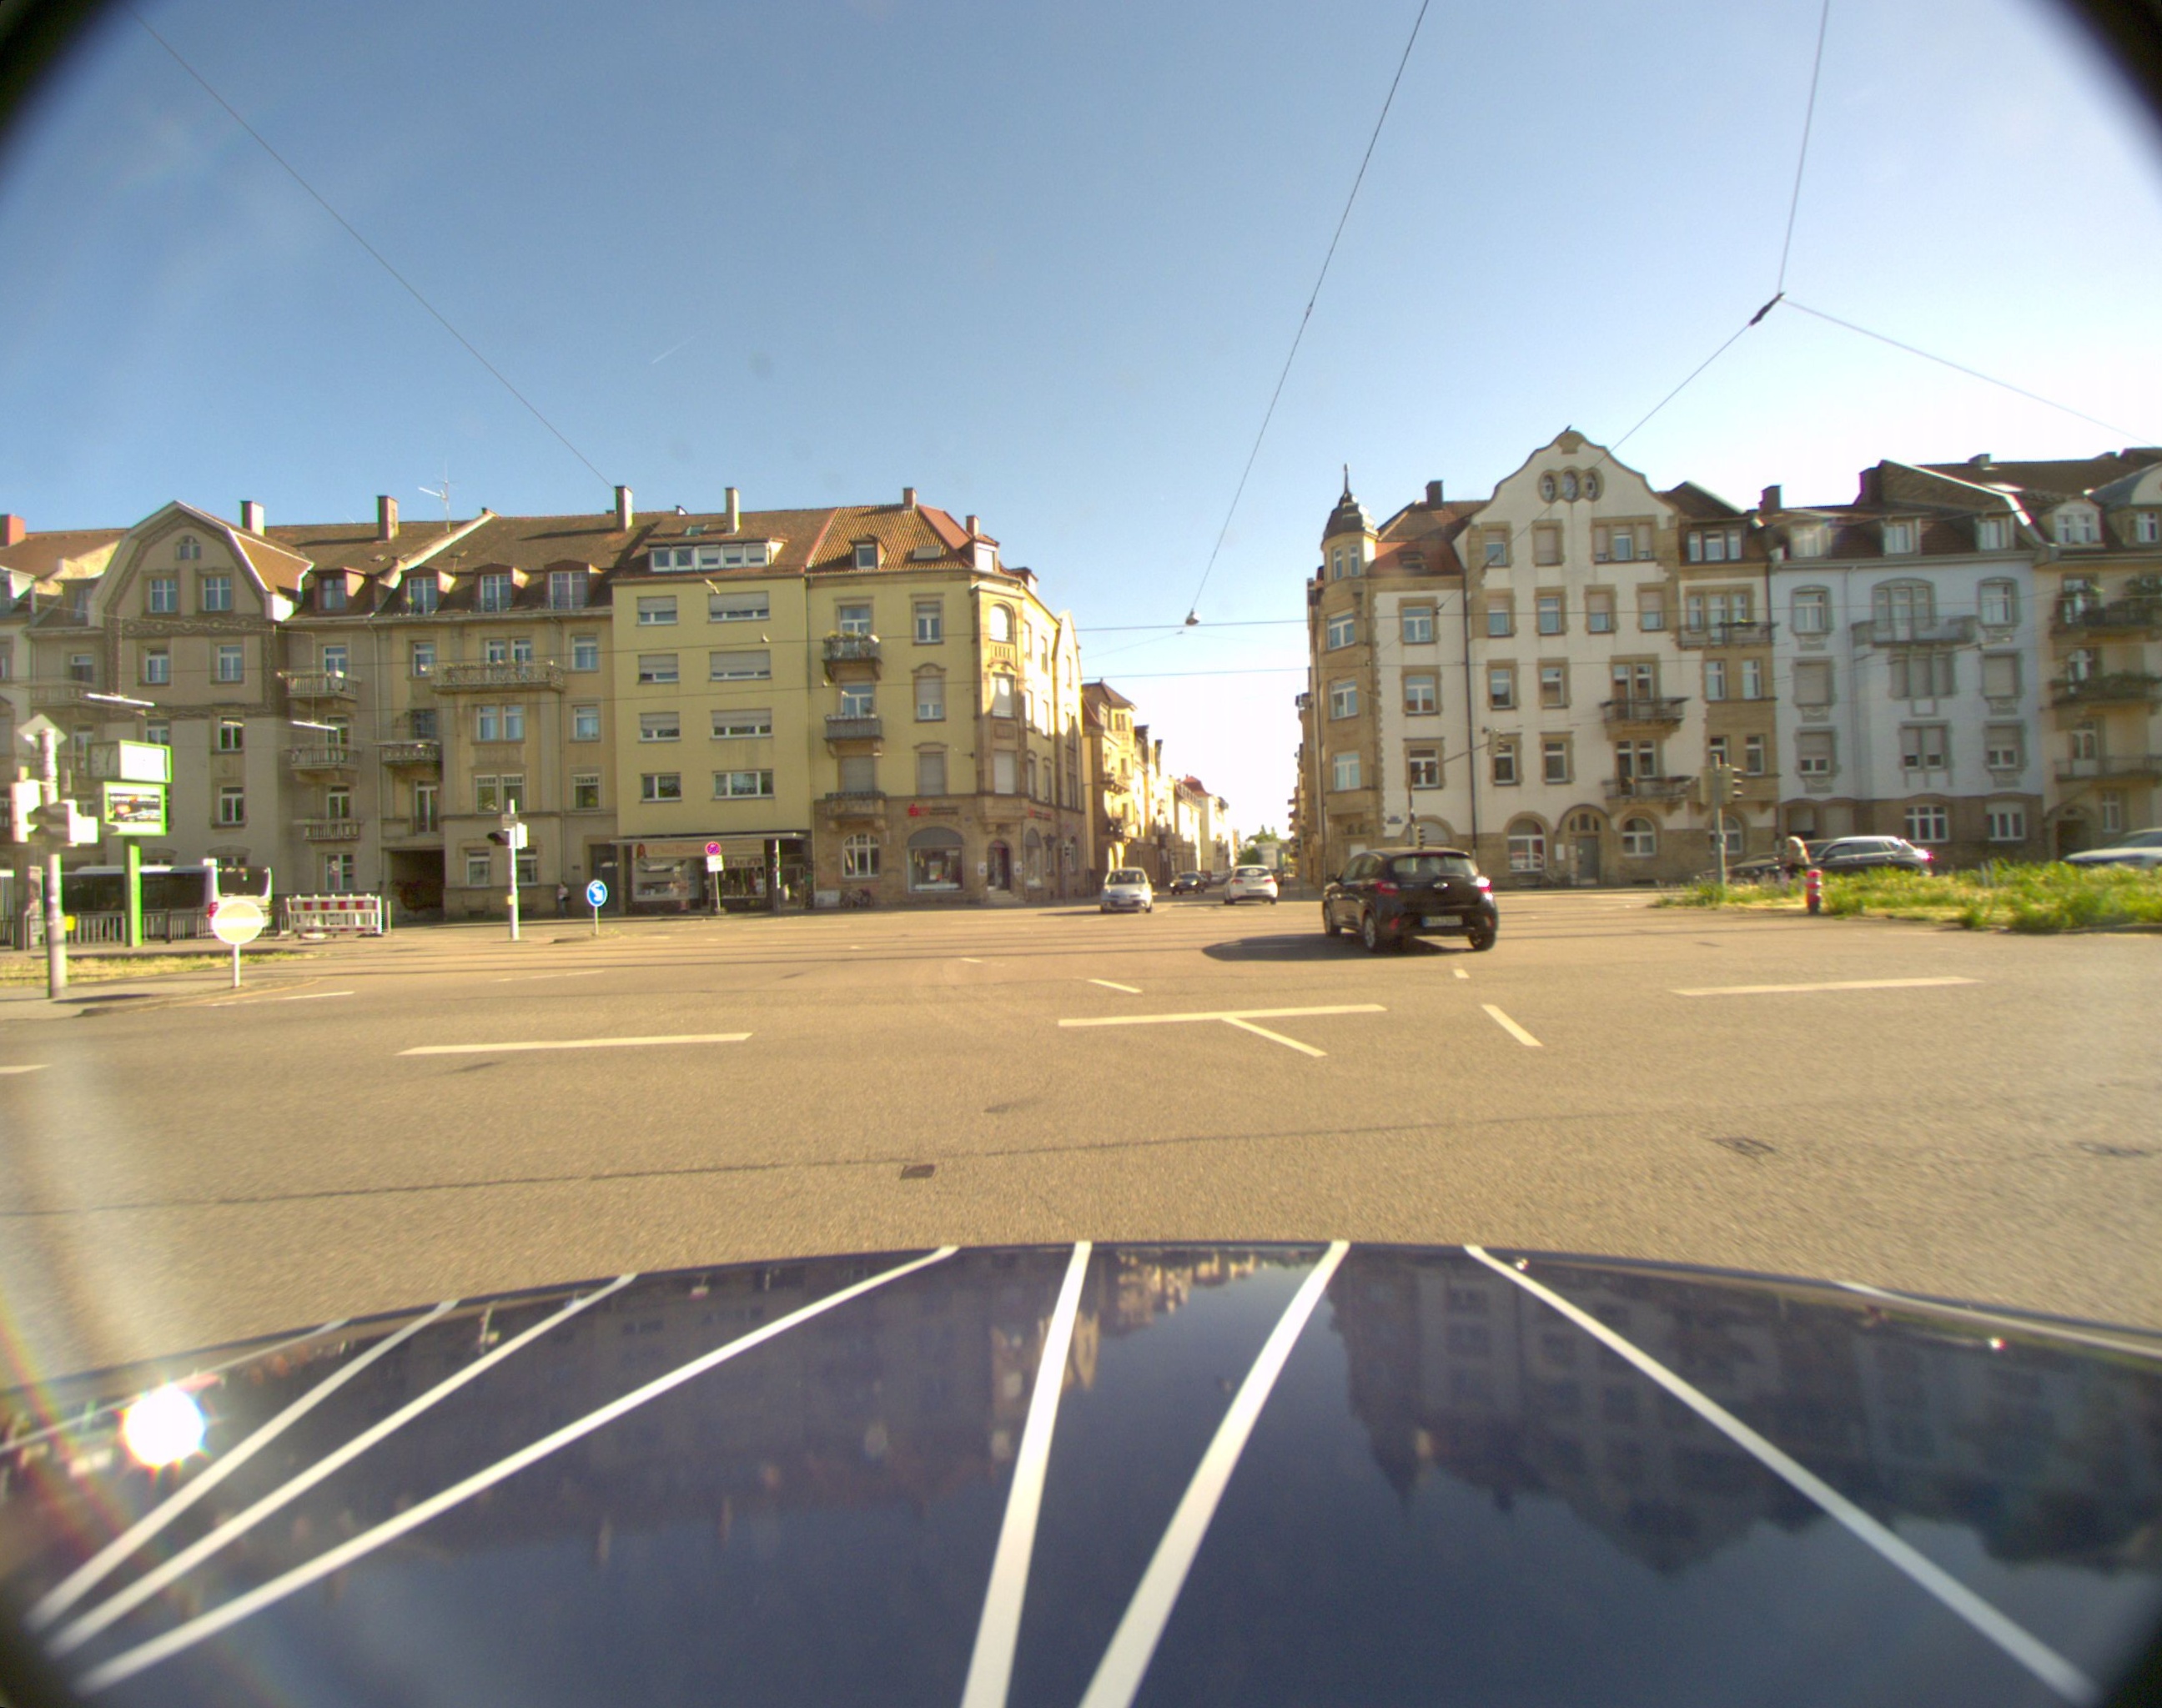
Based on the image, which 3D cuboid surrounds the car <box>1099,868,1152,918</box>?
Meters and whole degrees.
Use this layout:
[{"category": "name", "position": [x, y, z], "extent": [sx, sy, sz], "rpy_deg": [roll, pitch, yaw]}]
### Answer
[{"category": "car", "position": [1.500, 1.290, 26.021], "extent": [1.651, 1.559, 3.618], "rpy_deg": [-2, -1, 3]}]

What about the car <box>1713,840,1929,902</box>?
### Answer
[{"category": "car", "position": [21.670, 0.521, 22.408], "extent": [4.236, 1.634, 2.001], "rpy_deg": [-2, -2, 3]}]

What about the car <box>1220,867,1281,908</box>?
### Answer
[{"category": "car", "position": [6.542, 1.291, 29.665], "extent": [1.810, 1.449, 4.003], "rpy_deg": [-2, -2, 5]}]

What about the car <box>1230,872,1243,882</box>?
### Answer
[{"category": "car", "position": [28.039, 4.086, 137.022], "extent": [1.875, 1.656, 4.005], "rpy_deg": [-4, -1, 16]}]

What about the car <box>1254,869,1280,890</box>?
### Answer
[{"category": "car", "position": [13.475, 1.829, 54.979], "extent": [1.554, 1.403, 3.576], "rpy_deg": [0, -1, 17]}]

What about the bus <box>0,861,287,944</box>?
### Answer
[{"category": "bus", "position": [-40.175, 1.992, 31.406], "extent": [10.680, 3.015, 3.133], "rpy_deg": [-2, -2, -5]}]

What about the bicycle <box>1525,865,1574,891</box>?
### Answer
[{"category": "bicycle", "position": [21.313, 1.074, 34.576], "extent": [1.809, 1.127, 0.610], "rpy_deg": [-2, -1, 1]}]

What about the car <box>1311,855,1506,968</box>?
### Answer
[{"category": "car", "position": [4.917, 0.776, 11.993], "extent": [1.664, 1.455, 3.810], "rpy_deg": [-2, 0, 5]}]

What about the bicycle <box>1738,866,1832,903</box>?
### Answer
[{"category": "bicycle", "position": [18.378, 0.796, 19.861], "extent": [1.635, 0.919, 0.795], "rpy_deg": [-2, -1, 3]}]

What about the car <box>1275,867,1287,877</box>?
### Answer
[{"category": "car", "position": [36.261, 3.295, 137.799], "extent": [1.916, 1.613, 4.352], "rpy_deg": [-5, -2, 14]}]

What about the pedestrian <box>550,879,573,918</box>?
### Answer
[{"category": "pedestrian", "position": [-24.540, 2.106, 35.916], "extent": [0.521, 1.792, 0.709], "rpy_deg": [-2, -1, 6]}]

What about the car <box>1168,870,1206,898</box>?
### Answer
[{"category": "car", "position": [7.263, 1.998, 51.696], "extent": [1.875, 1.656, 4.005], "rpy_deg": [-4, -1, 16]}]

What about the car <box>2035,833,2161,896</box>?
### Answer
[{"category": "car", "position": [27.534, 0.226, 19.357], "extent": [4.016, 1.520, 1.767], "rpy_deg": [-2, -1, 3]}]

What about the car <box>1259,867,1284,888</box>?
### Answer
[{"category": "car", "position": [17.442, 2.126, 69.385], "extent": [1.915, 1.649, 4.352], "rpy_deg": [-6, -2, 16]}]

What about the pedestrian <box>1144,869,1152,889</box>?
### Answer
[{"category": "pedestrian", "position": [5.765, 2.112, 65.235], "extent": [0.577, 1.711, 0.698], "rpy_deg": [-1, -1, 16]}]

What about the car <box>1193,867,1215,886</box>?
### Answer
[{"category": "car", "position": [13.872, 2.520, 85.390], "extent": [1.831, 2.022, 3.825], "rpy_deg": [-4, -3, 15]}]

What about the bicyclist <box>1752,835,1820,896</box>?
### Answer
[{"category": "bicyclist", "position": [18.418, 0.292, 19.857], "extent": [1.073, 1.533, 0.687], "rpy_deg": [-2, 0, 3]}]

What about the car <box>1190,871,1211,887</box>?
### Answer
[{"category": "car", "position": [12.777, 2.669, 81.043], "extent": [1.831, 1.585, 3.825], "rpy_deg": [-4, -3, 14]}]

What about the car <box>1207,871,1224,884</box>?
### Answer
[{"category": "car", "position": [17.231, 3.011, 97.444], "extent": [1.831, 1.585, 3.825], "rpy_deg": [-4, -3, 14]}]

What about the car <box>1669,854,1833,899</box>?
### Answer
[{"category": "car", "position": [22.677, 0.773, 25.842], "extent": [3.893, 1.380, 1.767], "rpy_deg": [-2, -2, 3]}]

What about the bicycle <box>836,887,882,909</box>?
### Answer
[{"category": "bicycle", "position": [-10.506, 2.079, 35.988], "extent": [1.951, 0.970, 0.517], "rpy_deg": [-2, 2, 2]}]

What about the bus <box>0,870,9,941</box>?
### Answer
[{"category": "bus", "position": [-50.946, 2.292, 30.324], "extent": [10.862, 2.998, 3.094], "rpy_deg": [-2, -2, -5]}]
